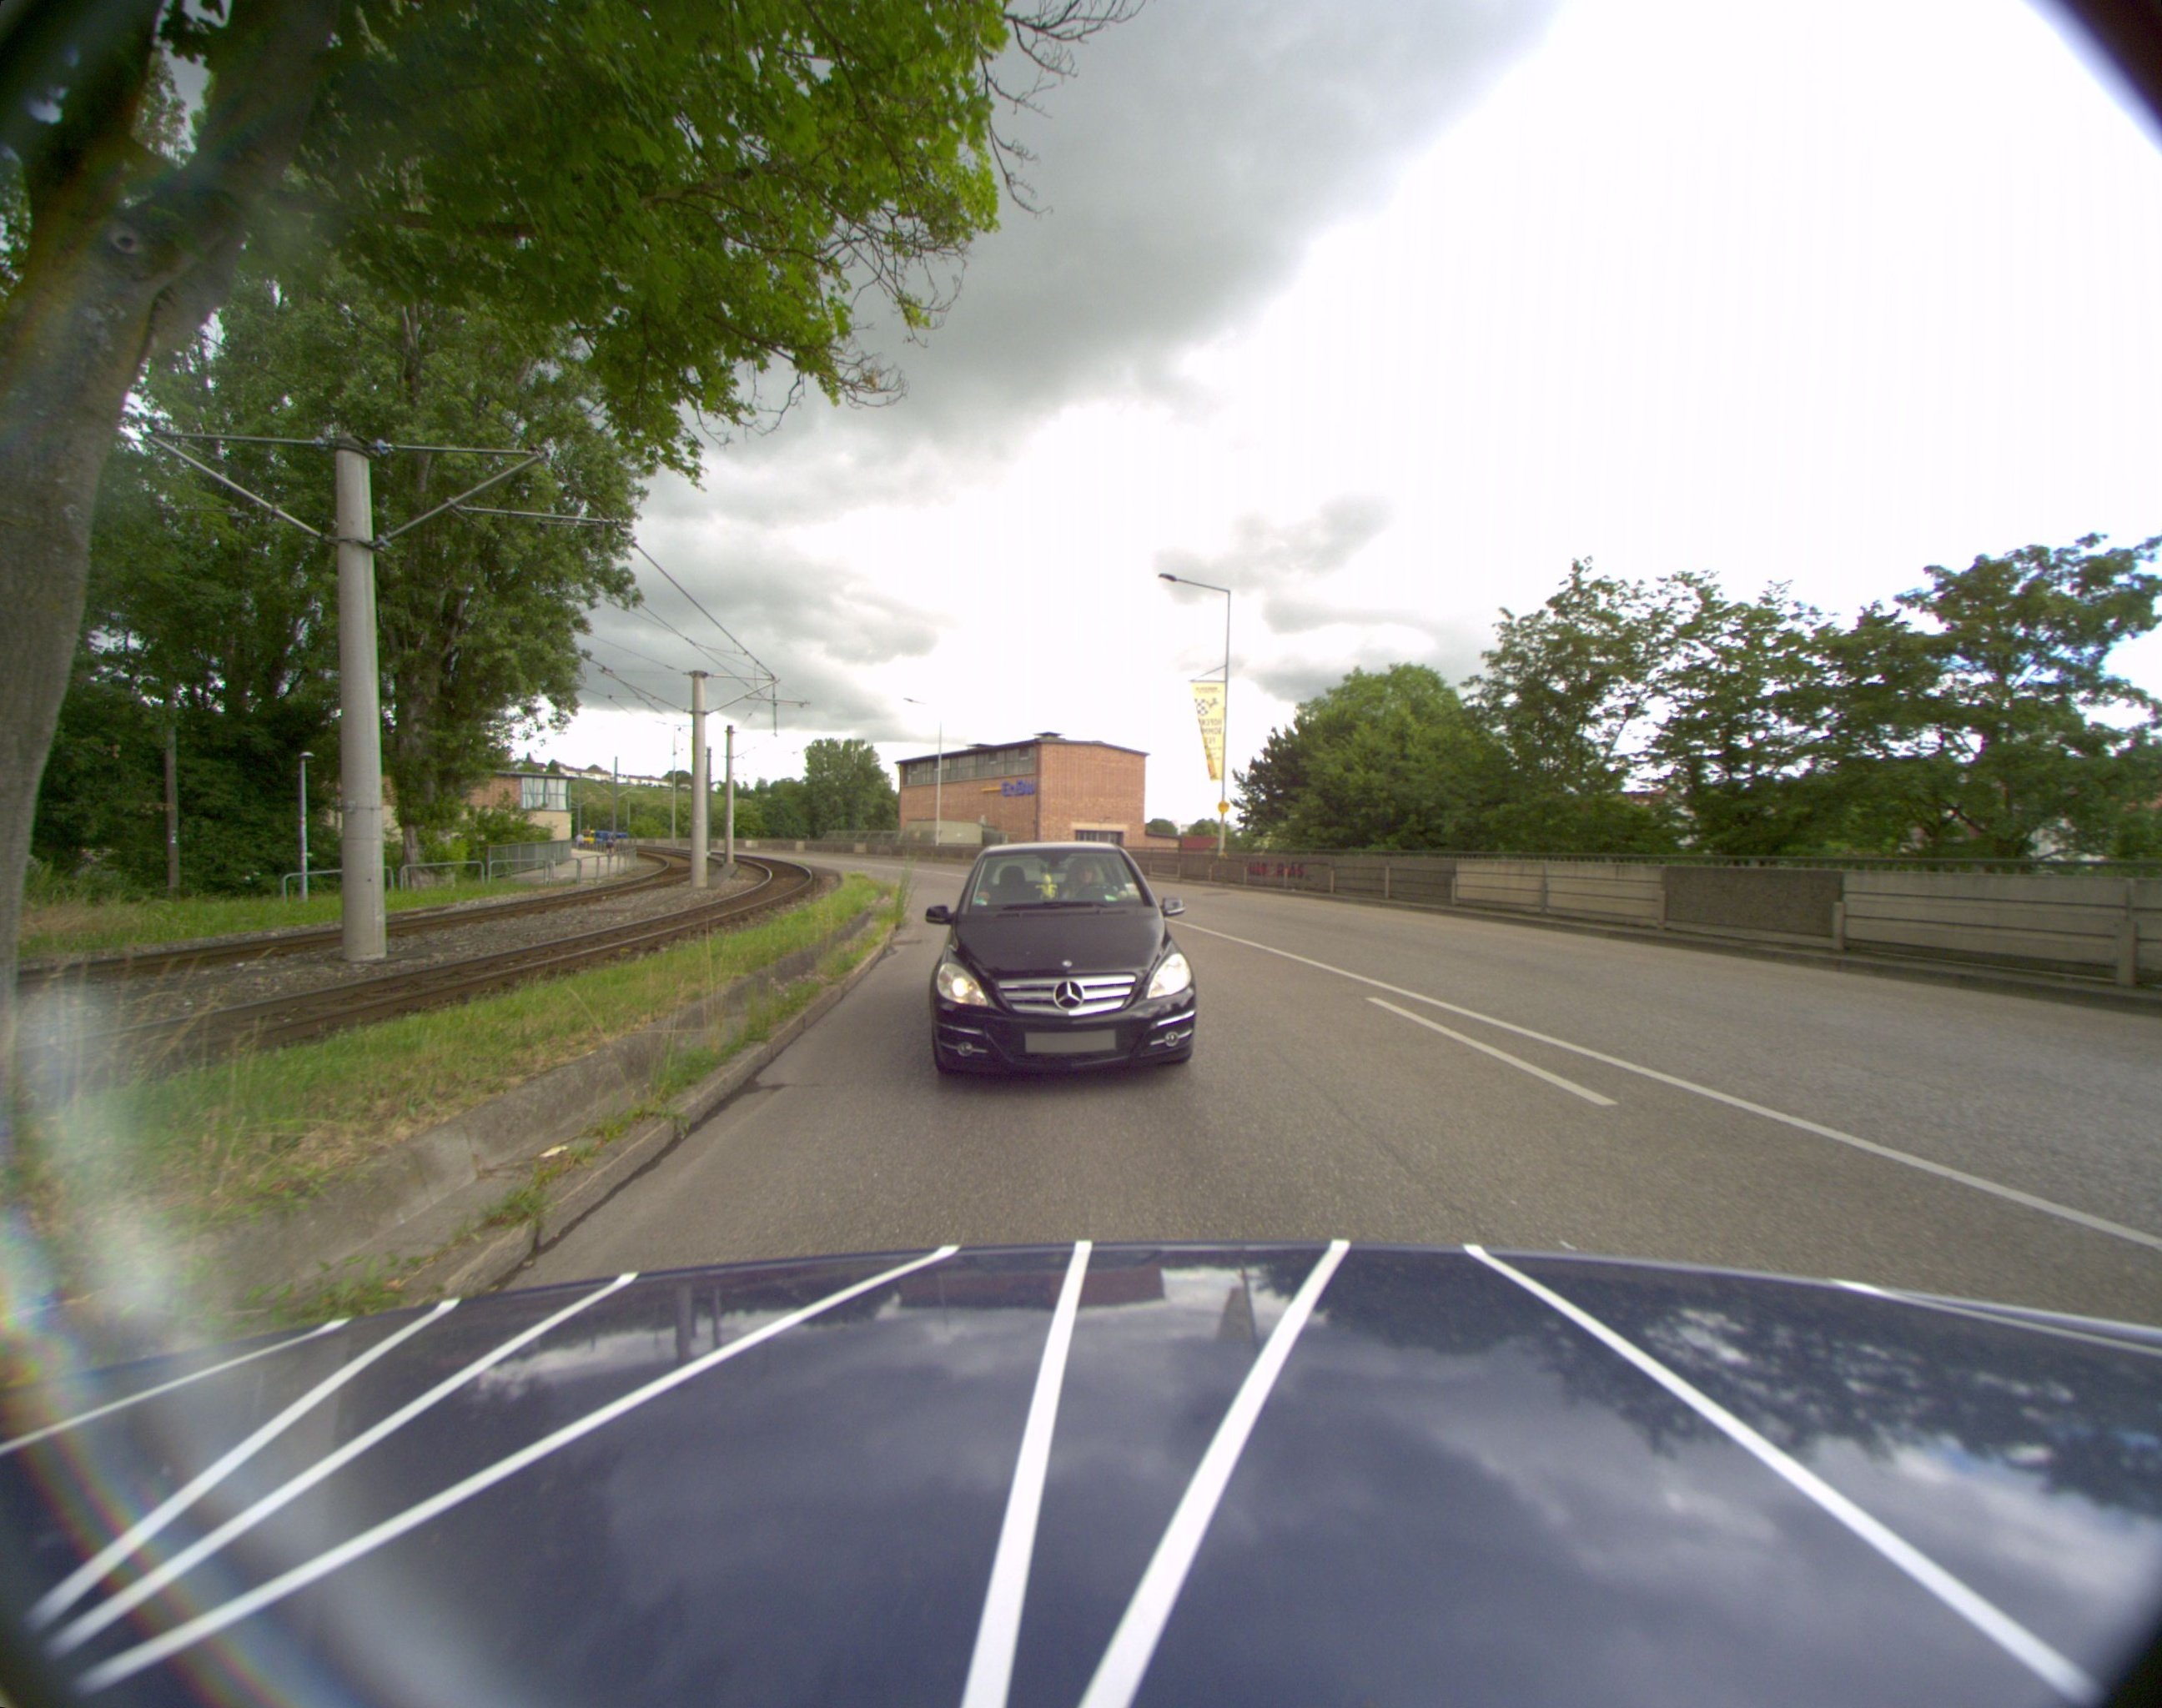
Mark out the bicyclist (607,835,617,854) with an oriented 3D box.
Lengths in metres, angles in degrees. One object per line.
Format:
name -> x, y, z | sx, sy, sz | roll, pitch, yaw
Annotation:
bicyclist -> -27.310, -0.570, 44.214 | 0.418, 1.077, 0.473 | 0, 1, -21

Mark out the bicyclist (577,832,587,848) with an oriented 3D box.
bicyclist -> -43.546, -1.219, 66.296 | 0.596, 1.353, 0.908 | -2, 2, -41

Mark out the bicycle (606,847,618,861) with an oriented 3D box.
bicycle -> -27.320, -0.031, 44.259 | 0.348, 0.790, 1.544 | 0, 1, -21

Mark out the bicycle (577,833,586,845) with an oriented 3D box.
bicycle -> -43.607, -1.302, 66.345 | 0.428, 1.044, 2.074 | -2, 2, -40

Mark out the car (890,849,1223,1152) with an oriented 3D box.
car -> -0.199, 0.818, 6.280 | 1.861, 1.612, 3.998 | 0, 2, -2
